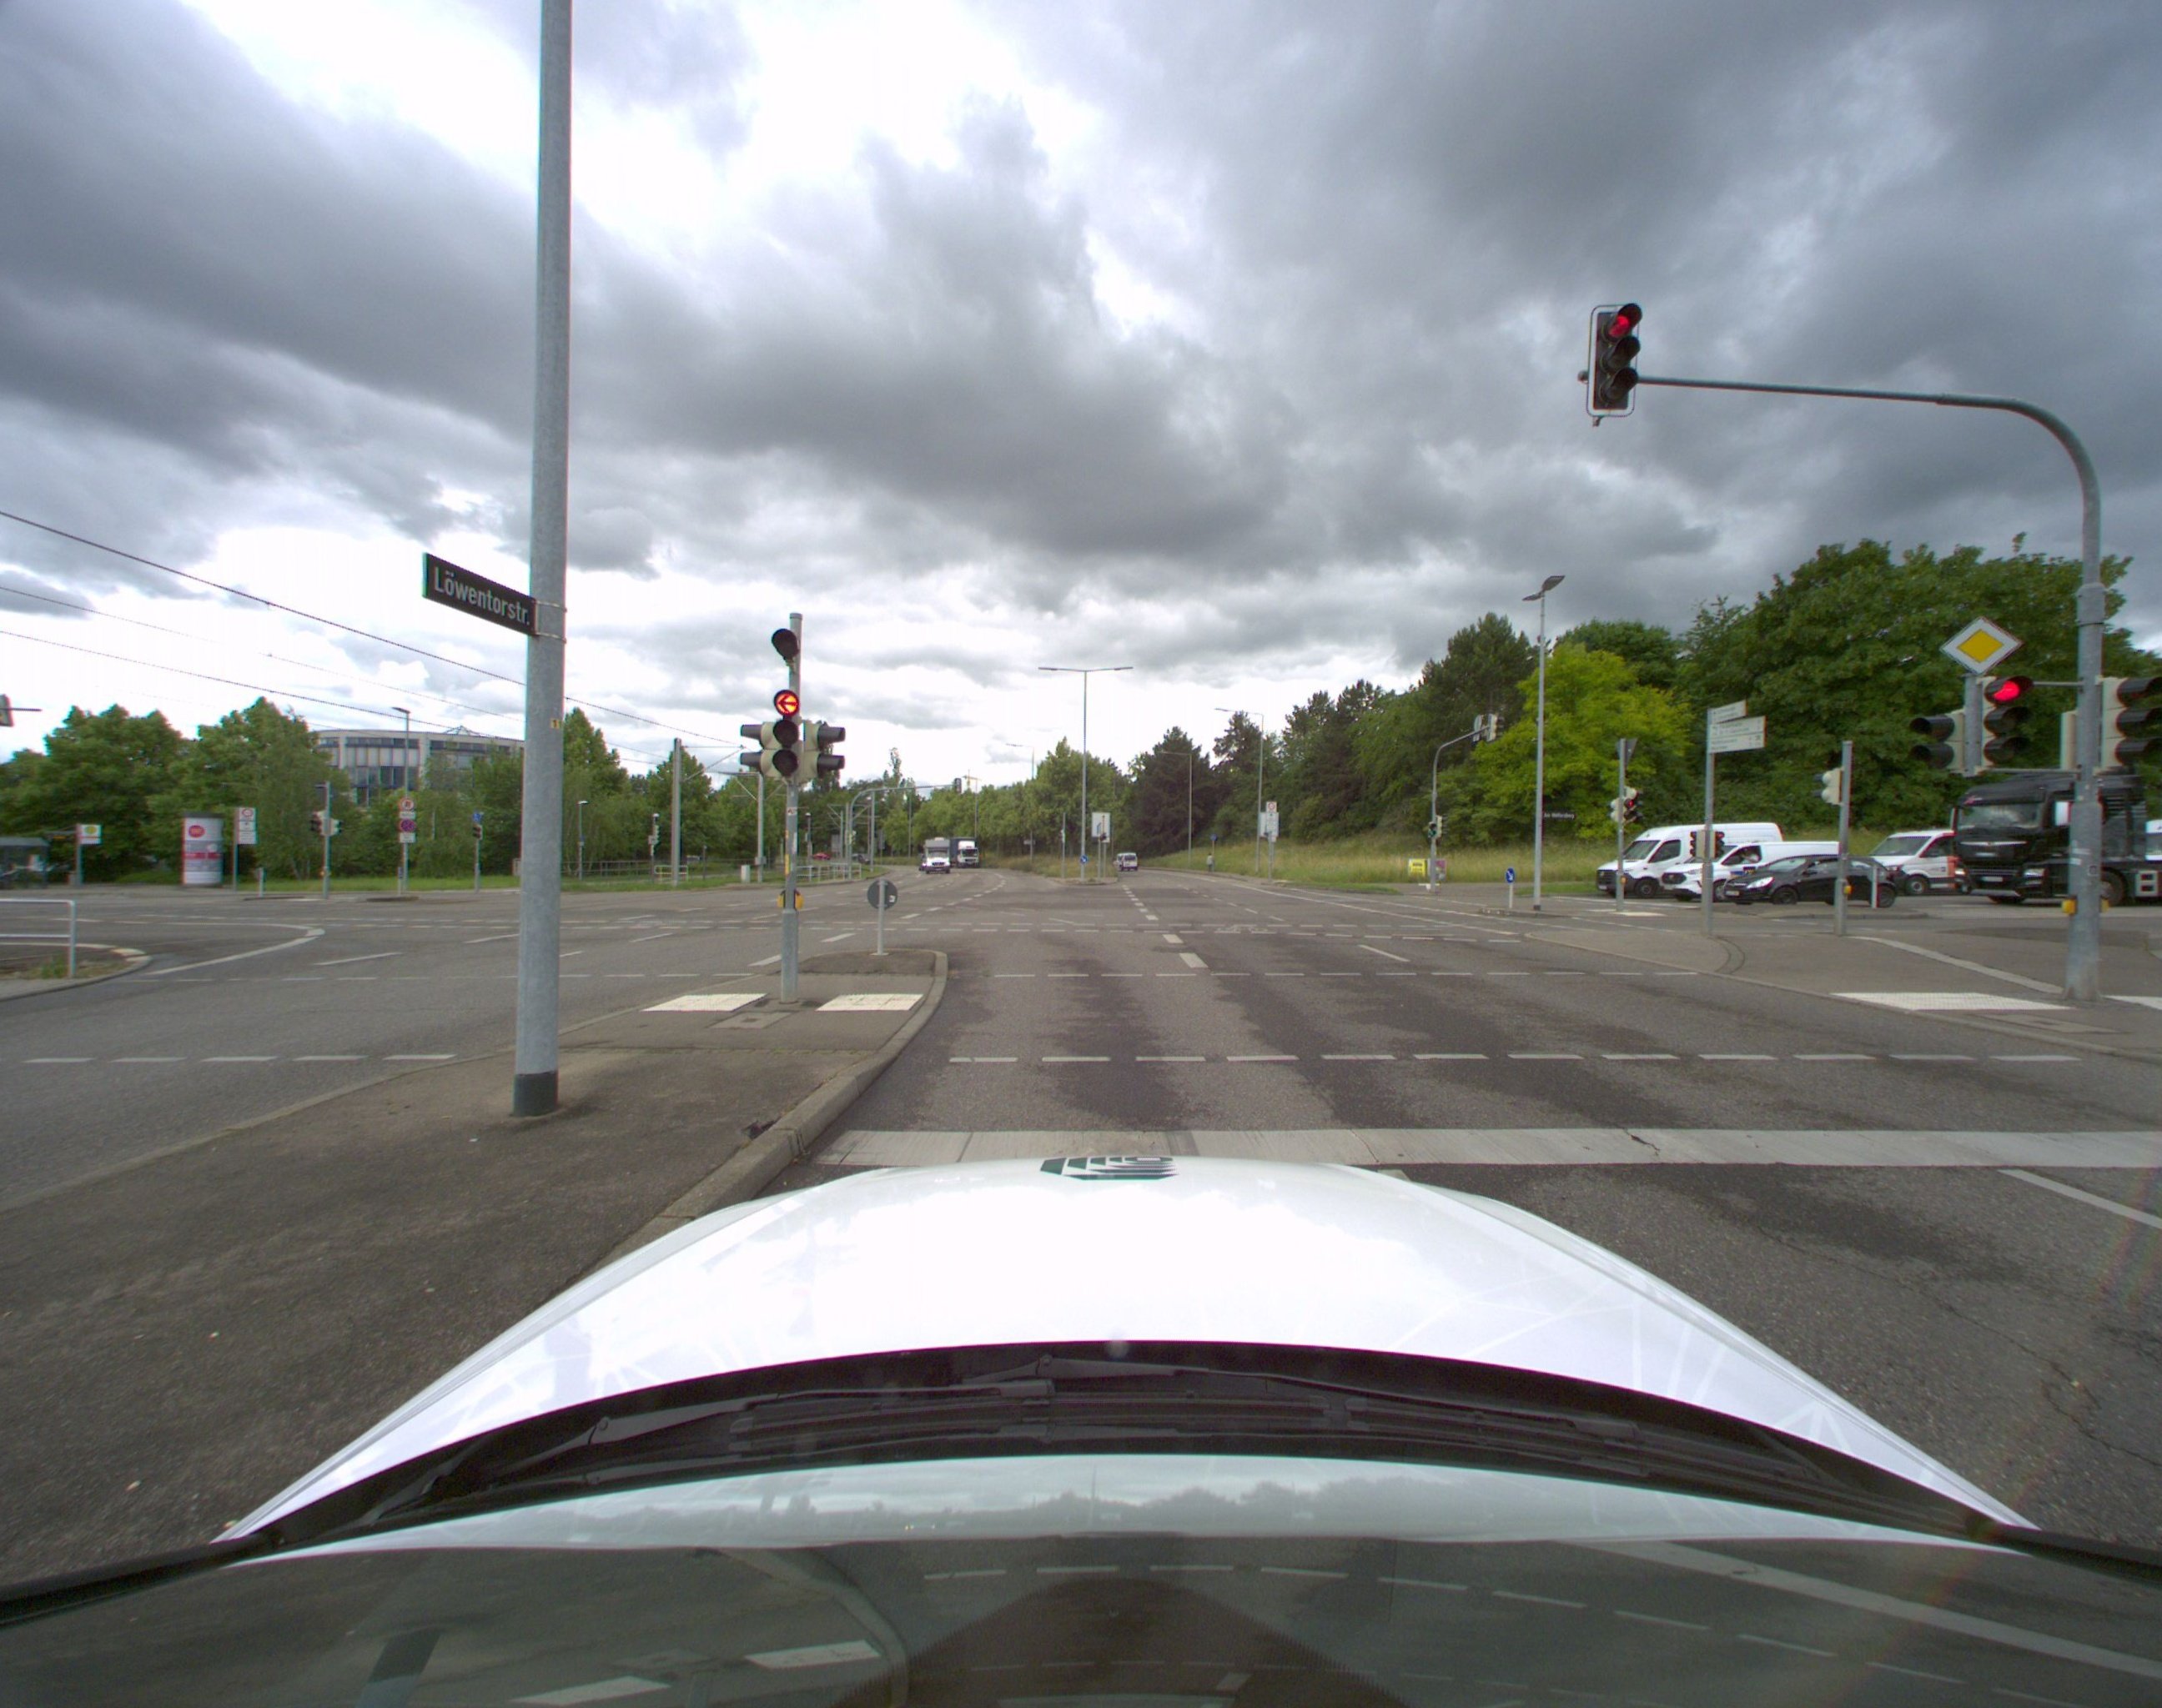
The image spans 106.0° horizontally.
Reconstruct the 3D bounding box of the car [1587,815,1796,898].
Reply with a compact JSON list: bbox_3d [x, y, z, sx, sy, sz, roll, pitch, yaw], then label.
[{"bbox_3d":[21.901,0.092,29.413,5.870,2.781,2.136,-1,0,2],"label":"car"}]

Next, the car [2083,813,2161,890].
[{"bbox_3d":[39.727,-0.133,28.493,6.473,2.609,2.197,-1,0,2],"label":"car"}]

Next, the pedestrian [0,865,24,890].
[{"bbox_3d":[-56.517,1.229,42.971,0.774,1.304,0.666,0,0,15],"label":"pedestrian"}]

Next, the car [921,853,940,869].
[{"bbox_3d":[-15.901,0.706,85.979,1.780,1.446,4.515,-2,2,-8],"label":"car"}]

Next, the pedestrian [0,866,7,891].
[{"bbox_3d":[-57.773,1.296,43.224,0.774,1.303,0.666,0,0,15],"label":"pedestrian"}]

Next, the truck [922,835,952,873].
[{"bbox_3d":[-12.408,0.027,69.924,2.119,3.135,5.871,0,-1,-14],"label":"truck"}]

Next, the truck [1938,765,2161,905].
[{"bbox_3d":[27.938,-0.519,22.273,6.027,3.538,2.729,-1,0,2],"label":"truck"}]

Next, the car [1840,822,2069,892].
[{"bbox_3d":[30.686,0.106,28.767,5.677,2.289,2.136,-1,0,2],"label":"car"}]

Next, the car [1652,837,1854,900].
[{"bbox_3d":[21.595,0.454,26.333,4.836,1.896,2.034,-1,0,1],"label":"car"}]

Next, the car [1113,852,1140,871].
[{"bbox_3d":[4.641,0.788,83.778,1.992,1.802,4.829,-1,-1,-6],"label":"car"}]

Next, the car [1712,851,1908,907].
[{"bbox_3d":[20.283,0.665,22.776,3.905,1.436,1.732,-1,0,1],"label":"car"}]

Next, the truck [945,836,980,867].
[{"bbox_3d":[-15.075,-0.237,102.719,3.054,3.760,12.747,0,-1,-15],"label":"truck"}]

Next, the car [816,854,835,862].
[{"bbox_3d":[-53.532,0.860,170.368,3.973,1.546,1.795,0,0,37],"label":"car"}]

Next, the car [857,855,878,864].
[{"bbox_3d":[-35.937,0.895,136.880,1.795,1.446,4.478,-3,2,-37],"label":"car"}]

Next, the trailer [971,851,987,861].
[{"bbox_3d":[-16.891,0.394,134.343,1.774,1.616,3.018,-1,0,-26],"label":"trailer"}]

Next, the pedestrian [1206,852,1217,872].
[{"bbox_3d":[10.884,0.636,67.945,0.811,1.627,0.791,0,0,1],"label":"pedestrian"}]
